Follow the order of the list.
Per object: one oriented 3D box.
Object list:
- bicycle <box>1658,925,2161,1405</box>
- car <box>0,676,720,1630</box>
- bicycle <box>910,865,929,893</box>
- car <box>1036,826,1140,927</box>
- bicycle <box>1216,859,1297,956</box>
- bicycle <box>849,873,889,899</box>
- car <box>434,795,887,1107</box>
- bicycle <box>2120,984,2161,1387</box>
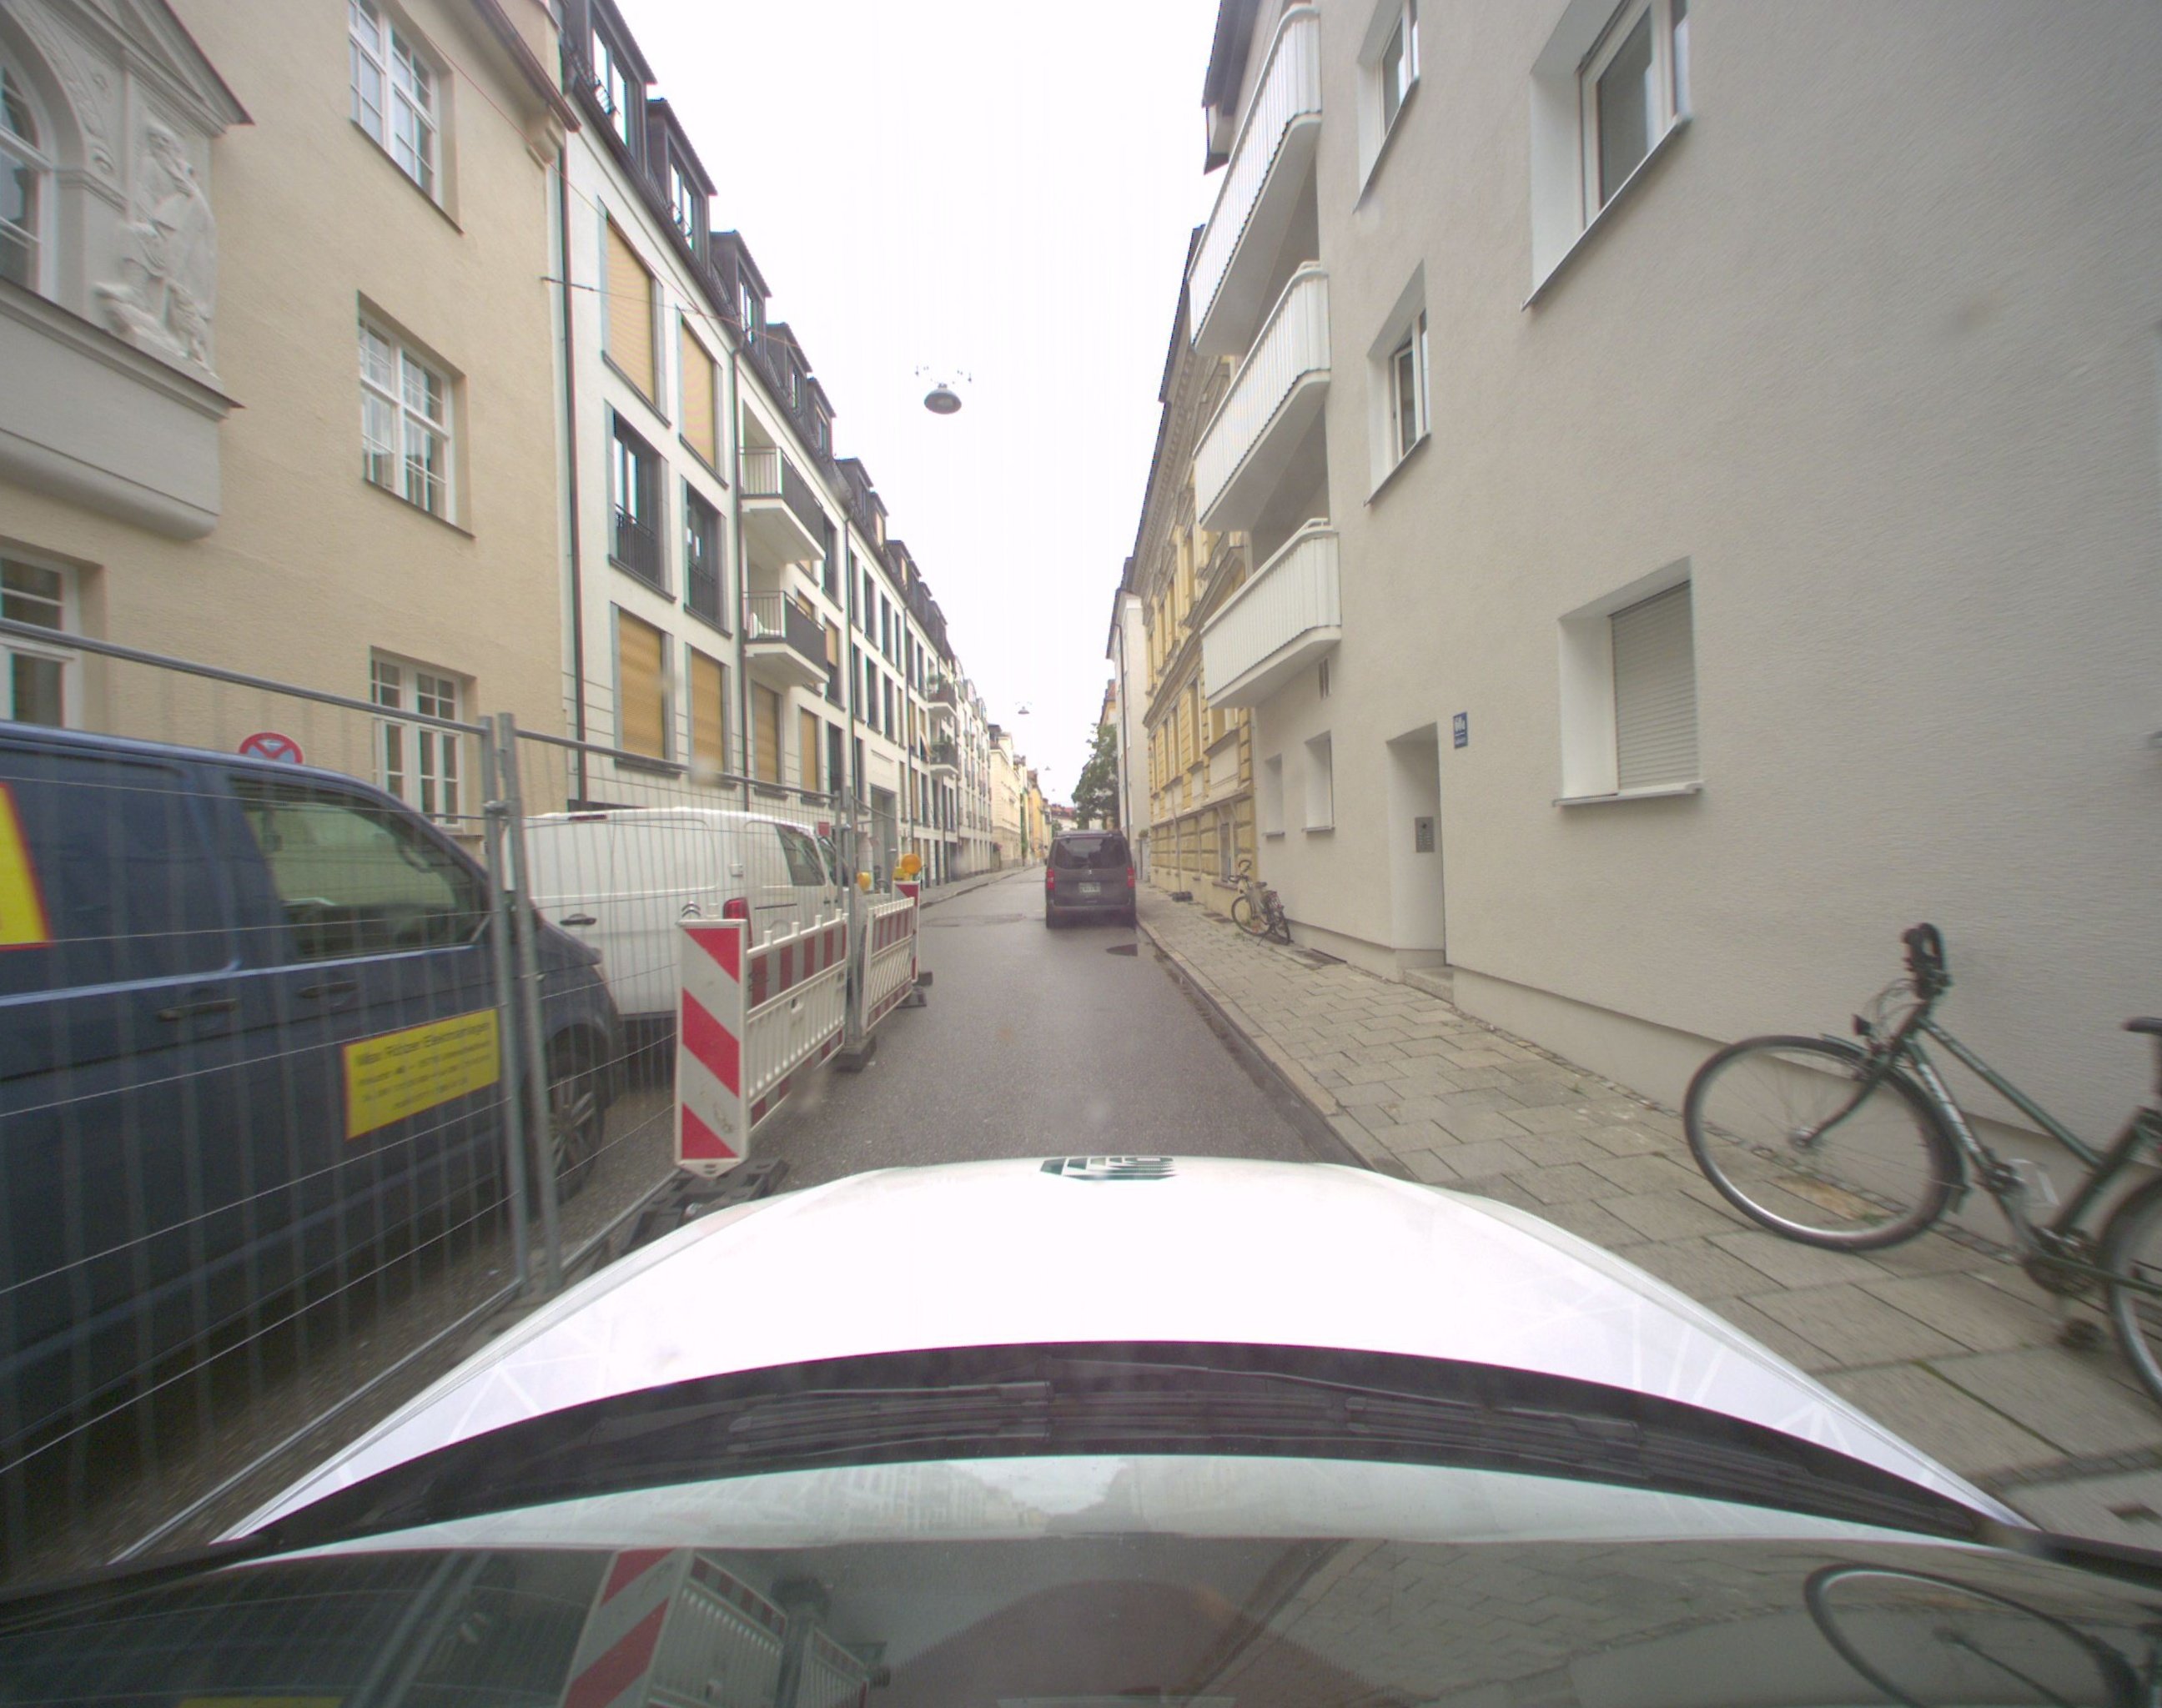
[{"bbox_3d":[2.567,0.780,2.506,0.404,0.991,1.324,-6,0,-10],"label":"bicycle"},{"bbox_3d":[-3.054,0.639,2.120,1.722,1.897,5.506,-4,0,-1],"label":"car"},{"bbox_3d":[-6.990,1.073,35.295,0.339,1.146,2.191,-3,-1,1],"label":"bicycle"},{"bbox_3d":[0.081,0.428,18.241,1.988,1.932,4.657,-1,0,-2],"label":"car"},{"bbox_3d":[2.437,0.699,11.502,0.636,1.153,1.915,-5,1,0],"label":"bicycle"},{"bbox_3d":[-7.882,1.177,30.266,1.397,0.888,0.376,-2,1,-35],"label":"bicycle"},{"bbox_3d":[-3.276,0.622,7.745,1.901,1.897,5.081,-2,0,-4],"label":"car"},{"bbox_3d":[2.450,0.802,1.162,0.279,0.991,1.438,-6,0,12],"label":"bicycle"}]
